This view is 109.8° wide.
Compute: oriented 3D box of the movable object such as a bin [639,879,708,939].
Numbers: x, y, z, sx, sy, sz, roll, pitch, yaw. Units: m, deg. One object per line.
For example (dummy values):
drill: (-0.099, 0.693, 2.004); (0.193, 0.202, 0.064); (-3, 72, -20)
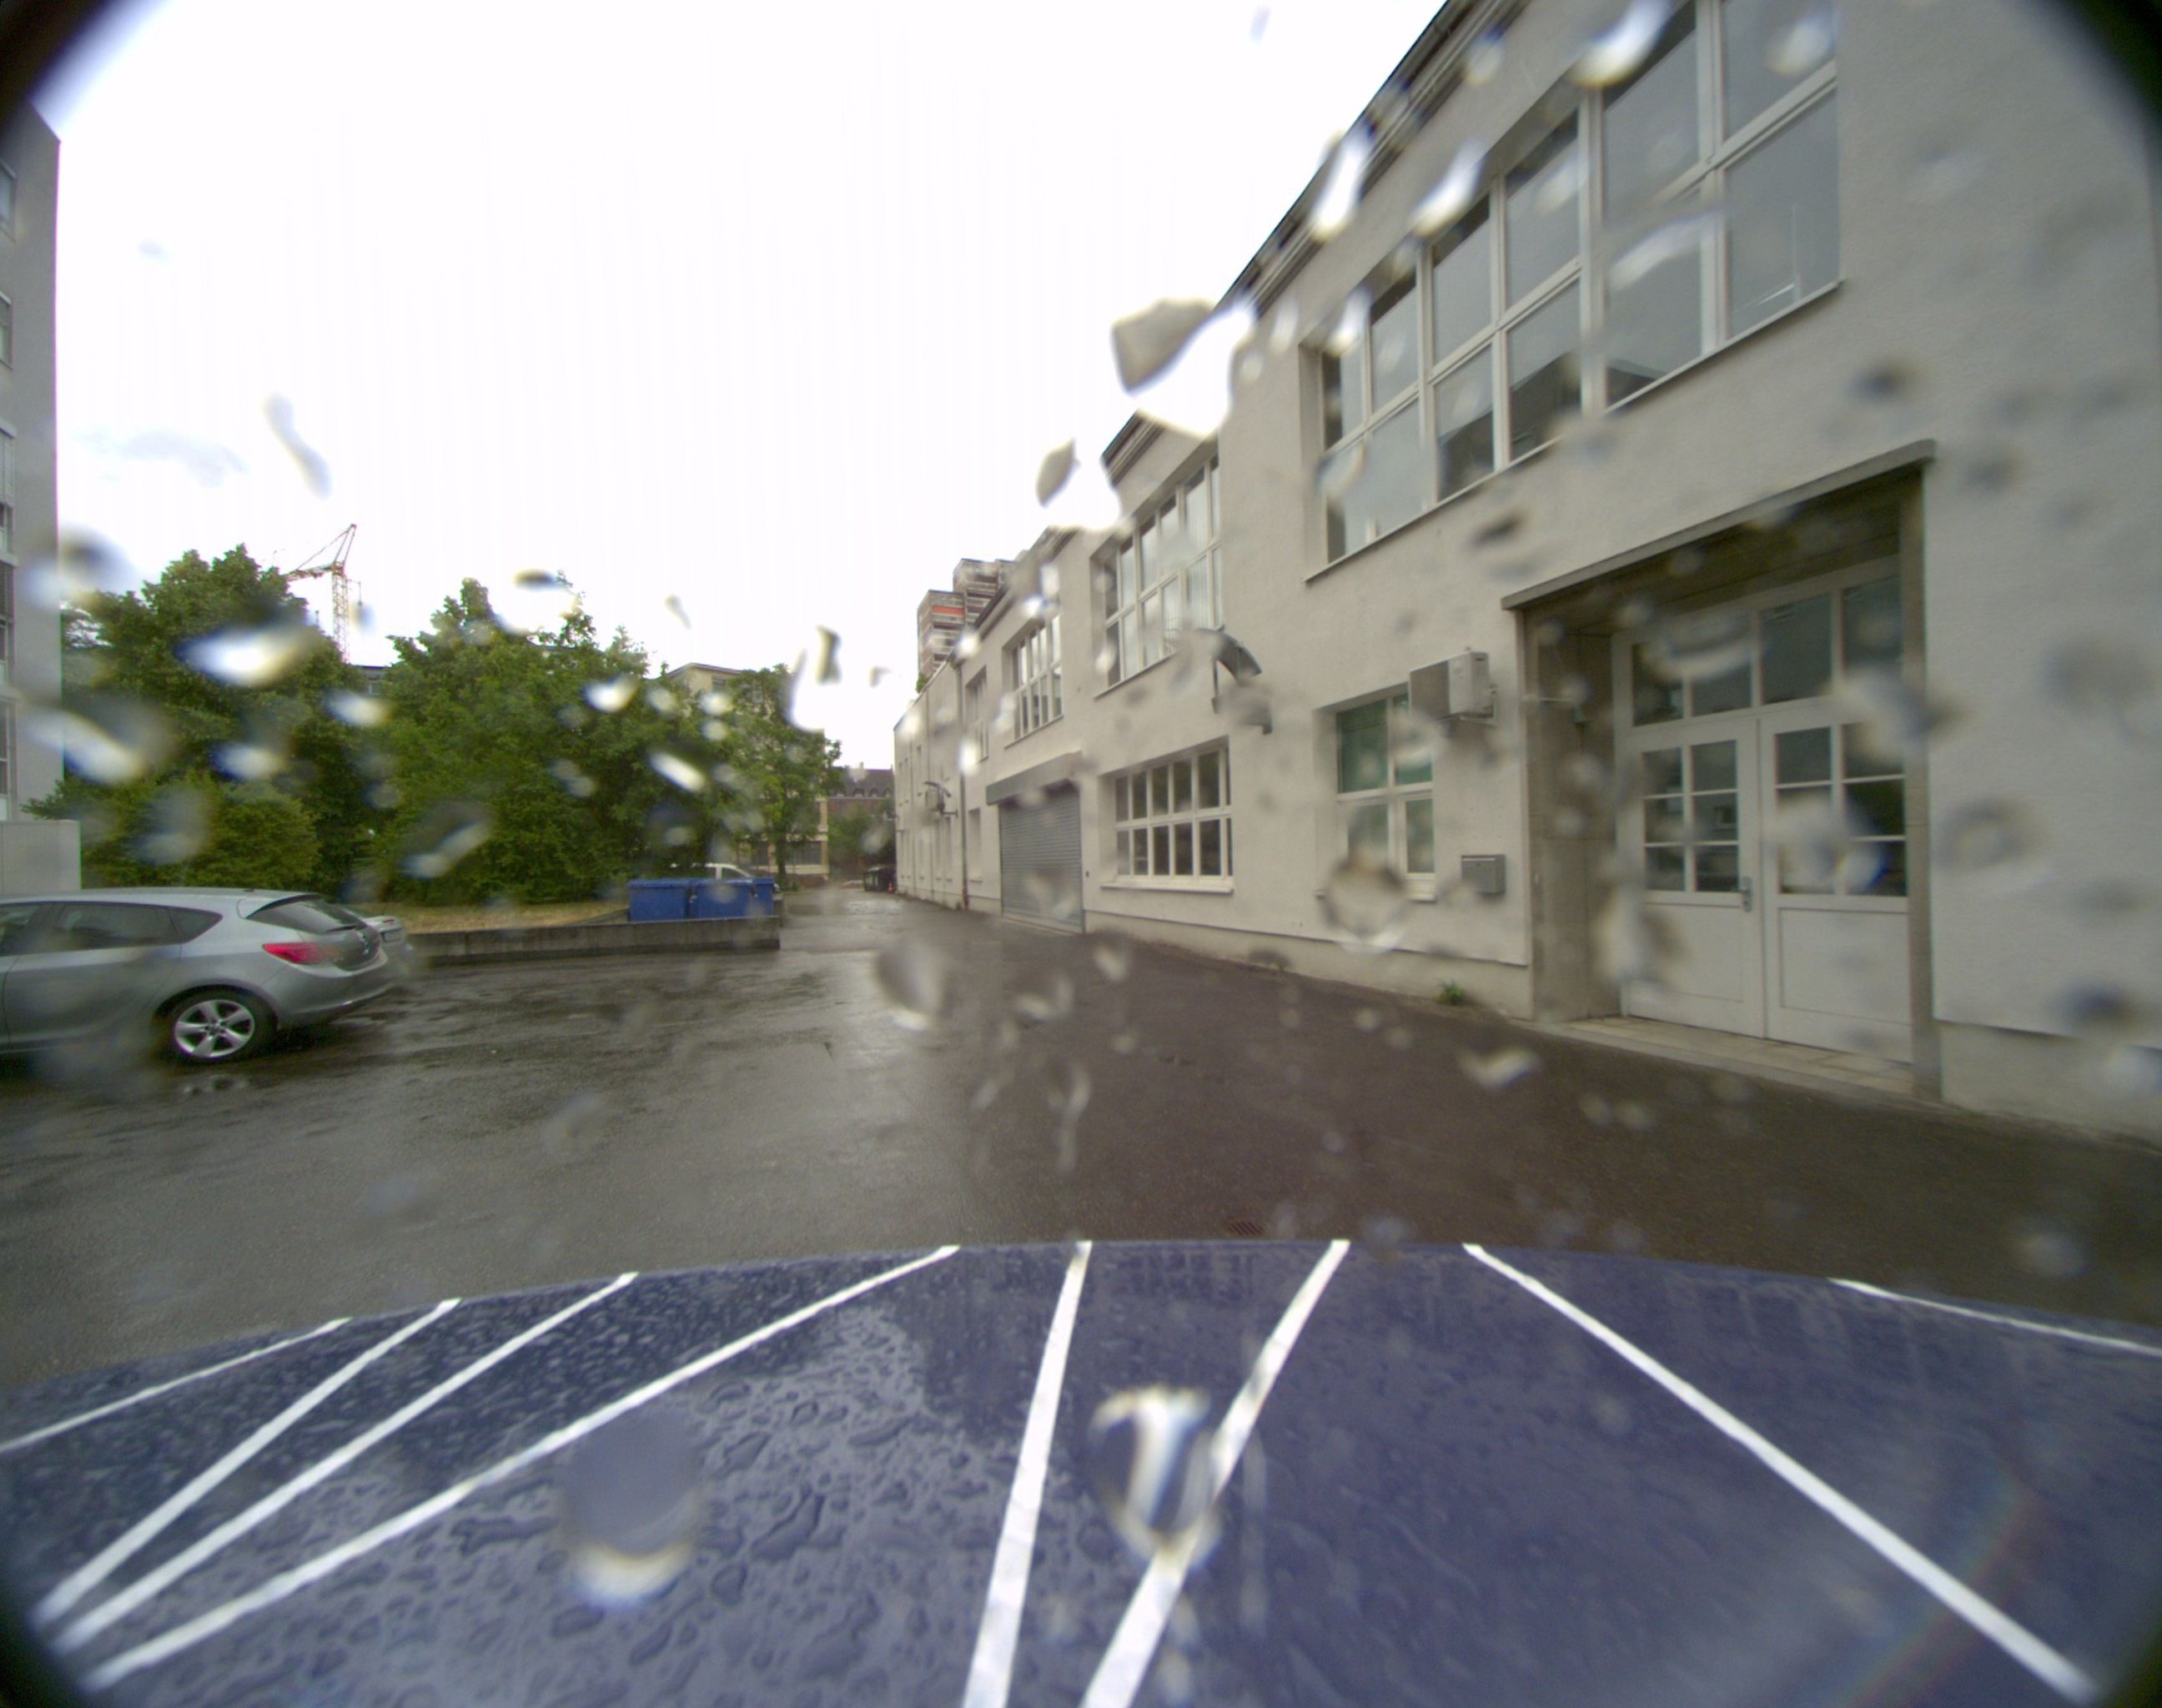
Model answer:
movable object such as a bin: (-10.136, 1.338, 18.994); (1.235, 1.349, 1.968); (-3, -1, -22)

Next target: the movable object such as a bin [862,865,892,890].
movable object such as a bin: (-12.614, 1.468, 46.892); (1.494, 1.439, 1.311); (-3, -1, -26)

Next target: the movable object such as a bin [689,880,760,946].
movable object such as a bin: (-8.206, 1.327, 17.614); (1.315, 1.349, 1.902); (-3, -1, -22)

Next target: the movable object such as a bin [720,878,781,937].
movable object such as a bin: (-8.473, 1.353, 19.564); (1.315, 1.349, 1.902); (-3, -1, -22)

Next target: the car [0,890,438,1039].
car: (-10.760, 1.211, 9.114); (4.226, 1.480, 1.996); (1, -2, -23)

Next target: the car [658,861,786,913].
car: (-15.337, 1.418, 32.782); (4.701, 1.870, 2.121); (-3, -2, -19)

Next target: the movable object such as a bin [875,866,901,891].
movable object such as a bin: (-11.260, 1.423, 44.320); (1.189, 1.365, 1.311); (-3, -1, -26)

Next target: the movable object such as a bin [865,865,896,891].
movable object such as a bin: (-12.037, 1.432, 45.675); (1.494, 1.439, 1.311); (-3, -1, -26)

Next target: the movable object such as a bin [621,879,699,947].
movable object such as a bin: (-9.437, 1.293, 17.124); (1.235, 1.349, 1.968); (-3, -1, -22)

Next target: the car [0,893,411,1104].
car: (-8.860, 1.183, 6.523); (4.226, 1.480, 1.996); (-1, -1, -25)
